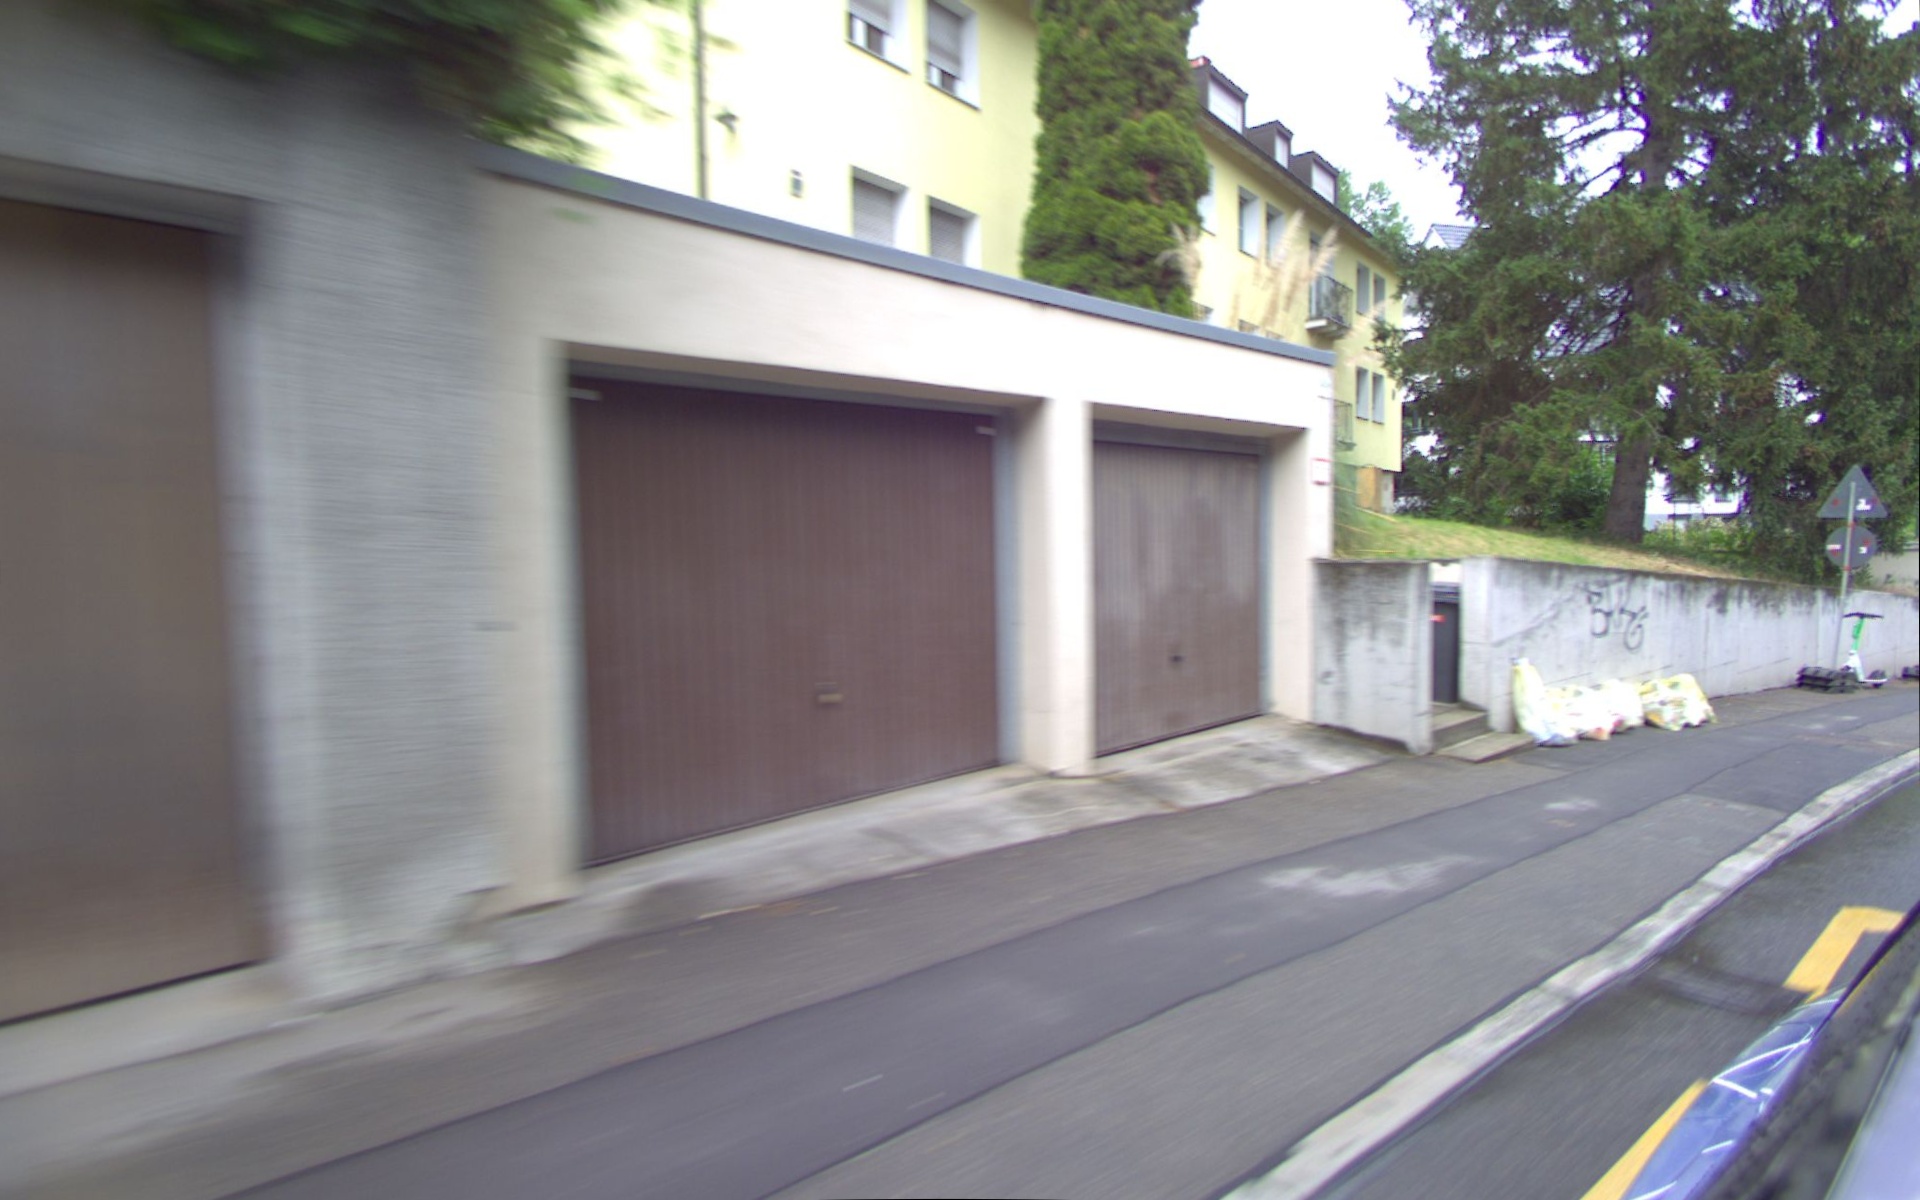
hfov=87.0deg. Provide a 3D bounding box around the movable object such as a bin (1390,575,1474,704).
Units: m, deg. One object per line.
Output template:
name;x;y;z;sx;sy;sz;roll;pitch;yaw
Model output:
movable object such as a bin;4.259;0.344;9.142;0.484;1.105;0.482;1;2;-40

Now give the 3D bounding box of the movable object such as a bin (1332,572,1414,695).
movable object such as a bin;3.896;0.304;9.546;0.511;1.105;0.479;1;2;-40

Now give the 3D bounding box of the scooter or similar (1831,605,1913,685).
scooter or similar;14.048;0.666;15.582;1.344;1.146;0.600;1;2;-35
